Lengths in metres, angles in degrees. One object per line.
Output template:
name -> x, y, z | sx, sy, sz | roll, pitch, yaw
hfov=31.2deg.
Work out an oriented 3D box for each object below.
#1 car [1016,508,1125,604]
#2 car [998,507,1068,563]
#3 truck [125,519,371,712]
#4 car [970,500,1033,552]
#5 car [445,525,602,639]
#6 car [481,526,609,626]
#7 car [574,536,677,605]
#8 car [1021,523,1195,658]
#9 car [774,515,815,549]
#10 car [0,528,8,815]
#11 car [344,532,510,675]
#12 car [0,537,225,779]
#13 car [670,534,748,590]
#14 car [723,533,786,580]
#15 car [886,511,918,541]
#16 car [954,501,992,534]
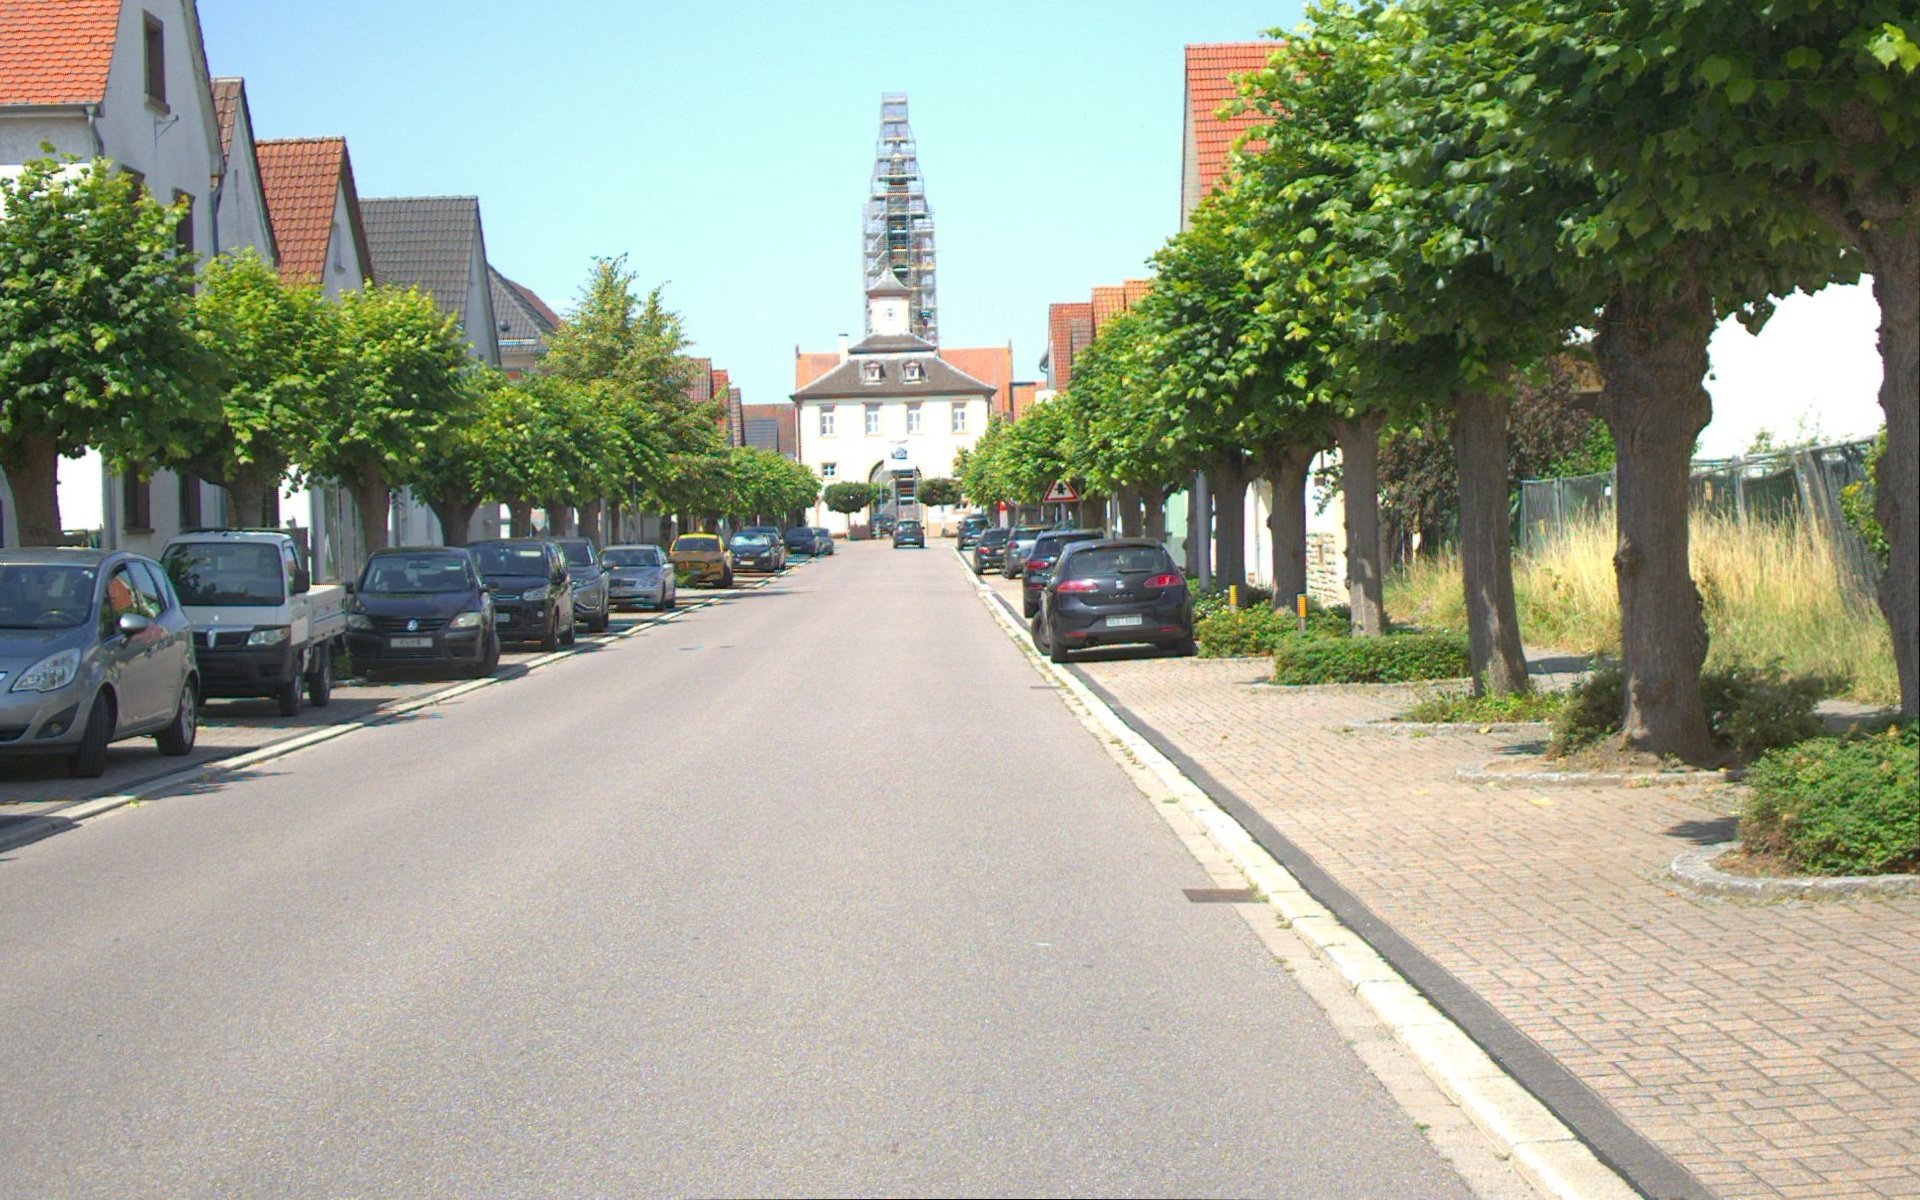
car -> 2.076, -0.849, 63.611 | 1.824, 1.580, 4.057 | -3, 2, 3
car -> 2.193, -1.985, 104.151 | 1.837, 1.602, 4.001 | -2, 2, -2
truck -> -6.868, 0.094, 33.519 | 1.576, 1.759, 4.192 | 0, 1, -1
car -> 1.323, -2.408, 111.798 | 1.837, 1.550, 4.314 | -3, 2, -1
car -> -6.446, -0.289, 51.144 | 1.853, 1.629, 4.057 | 0, 1, -1
car -> -7.212, -0.445, 60.080 | 1.993, 1.647, 4.368 | 0, 1, -4
car -> -7.206, -0.665, 74.367 | 1.840, 1.391, 4.407 | -1, 2, -1
car -> 1.774, -0.152, 42.380 | 1.824, 1.427, 4.057 | -4, 2, -1
car -> -8.131, -3.353, 168.956 | 1.757, 1.550, 4.020 | -2, 2, 0
car -> -6.360, 0.475, 17.545 | 1.853, 1.630, 4.300 | 0, 2, -1
car -> -6.438, 0.001, 41.852 | 1.785, 1.628, 4.001 | -1, 1, -6
car -> -6.738, 0.348, 25.088 | 1.853, 1.607, 4.371 | 0, 1, -1
car -> -7.614, -1.167, 104.529 | 1.993, 1.606, 4.689 | 0, 1, 0
car -> -7.508, -1.616, 125.999 | 1.993, 1.606, 4.689 | -1, 2, 0
car -> -3.102, -3.968, 184.771 | 1.729, 1.542, 3.456 | 0, 1, -1
car -> 0.648, -4.203, 174.630 | 1.837, 1.550, 4.314 | -3, 2, 0
